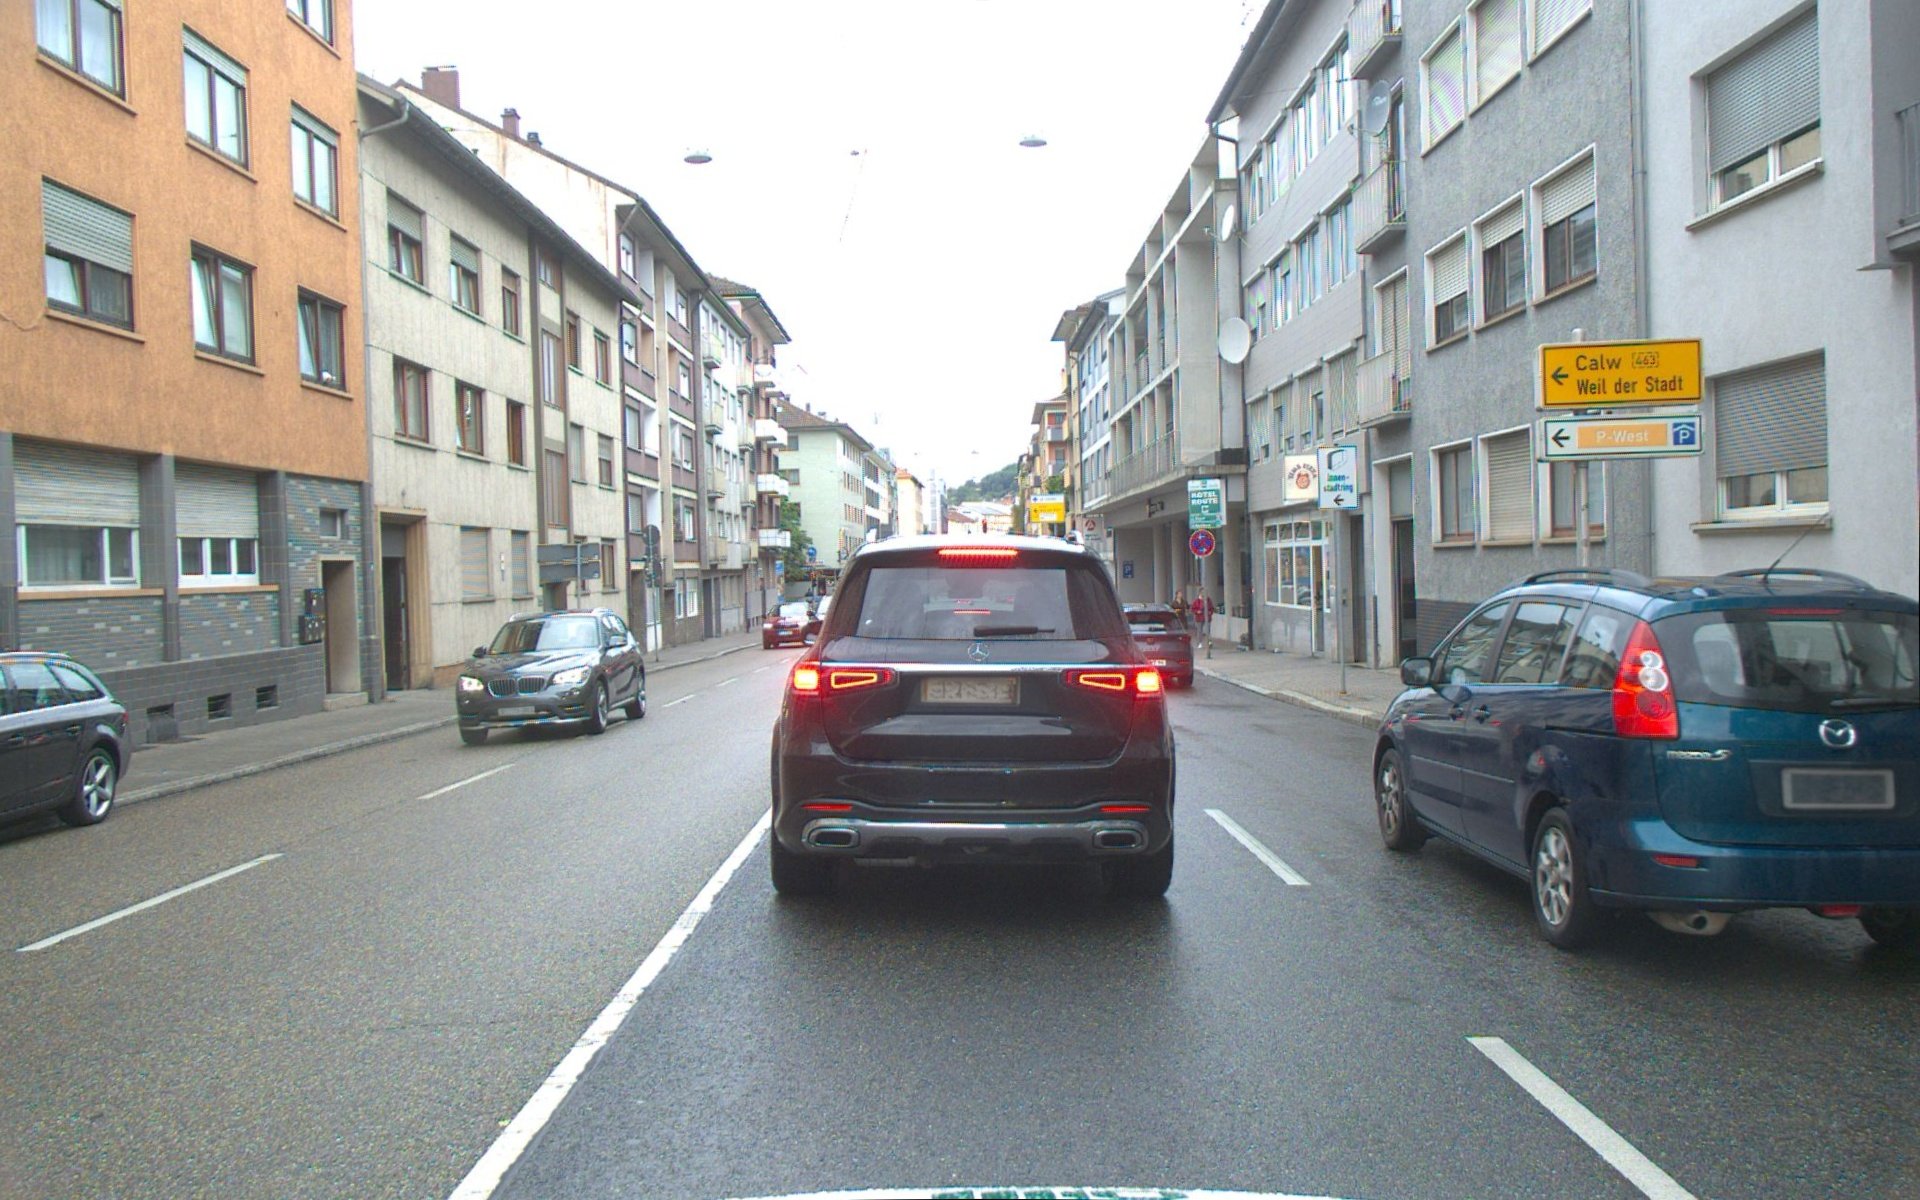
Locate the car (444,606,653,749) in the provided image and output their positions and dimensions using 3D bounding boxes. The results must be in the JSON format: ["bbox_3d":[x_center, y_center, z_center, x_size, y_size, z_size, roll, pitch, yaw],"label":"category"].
[{"bbox_3d":[-5.221,0.923,21.511,1.669,1.533,4.158,-4,0,-1],"label":"car"}]

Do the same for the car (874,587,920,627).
[{"bbox_3d":[-3.034,0.320,80.978,2.083,1.750,4.816,-3,0,-1],"label":"car"}]

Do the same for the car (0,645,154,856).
[{"bbox_3d":[-7.965,1.146,12.333,1.759,1.463,4.526,1,0,-1],"label":"car"}]

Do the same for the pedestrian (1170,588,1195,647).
[{"bbox_3d":[5.907,0.472,43.929,0.496,1.526,0.562,-4,0,-2],"label":"pedestrian"}]

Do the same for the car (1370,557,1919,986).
[{"bbox_3d":[3.466,0.652,8.441,1.770,1.634,4.212,0,0,1],"label":"car"}]

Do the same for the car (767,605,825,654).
[{"bbox_3d":[-6.013,1.047,60.964,1.761,1.612,4.314,-3,0,-2],"label":"car"}]

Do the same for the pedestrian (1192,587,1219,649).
[{"bbox_3d":[6.506,0.470,43.820,0.548,1.606,0.526,-4,0,2],"label":"pedestrian"}]

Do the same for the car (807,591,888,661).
[{"bbox_3d":[-3.127,0.695,46.668,1.798,1.757,4.475,-4,0,1],"label":"car"}]

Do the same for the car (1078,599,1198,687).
[{"bbox_3d":[3.150,0.722,29.980,1.588,1.455,4.311,1,0,-1],"label":"car"}]

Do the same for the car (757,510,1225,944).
[{"bbox_3d":[0.094,0.544,9.119,1.984,1.837,3.999,1,0,-1],"label":"car"}]
